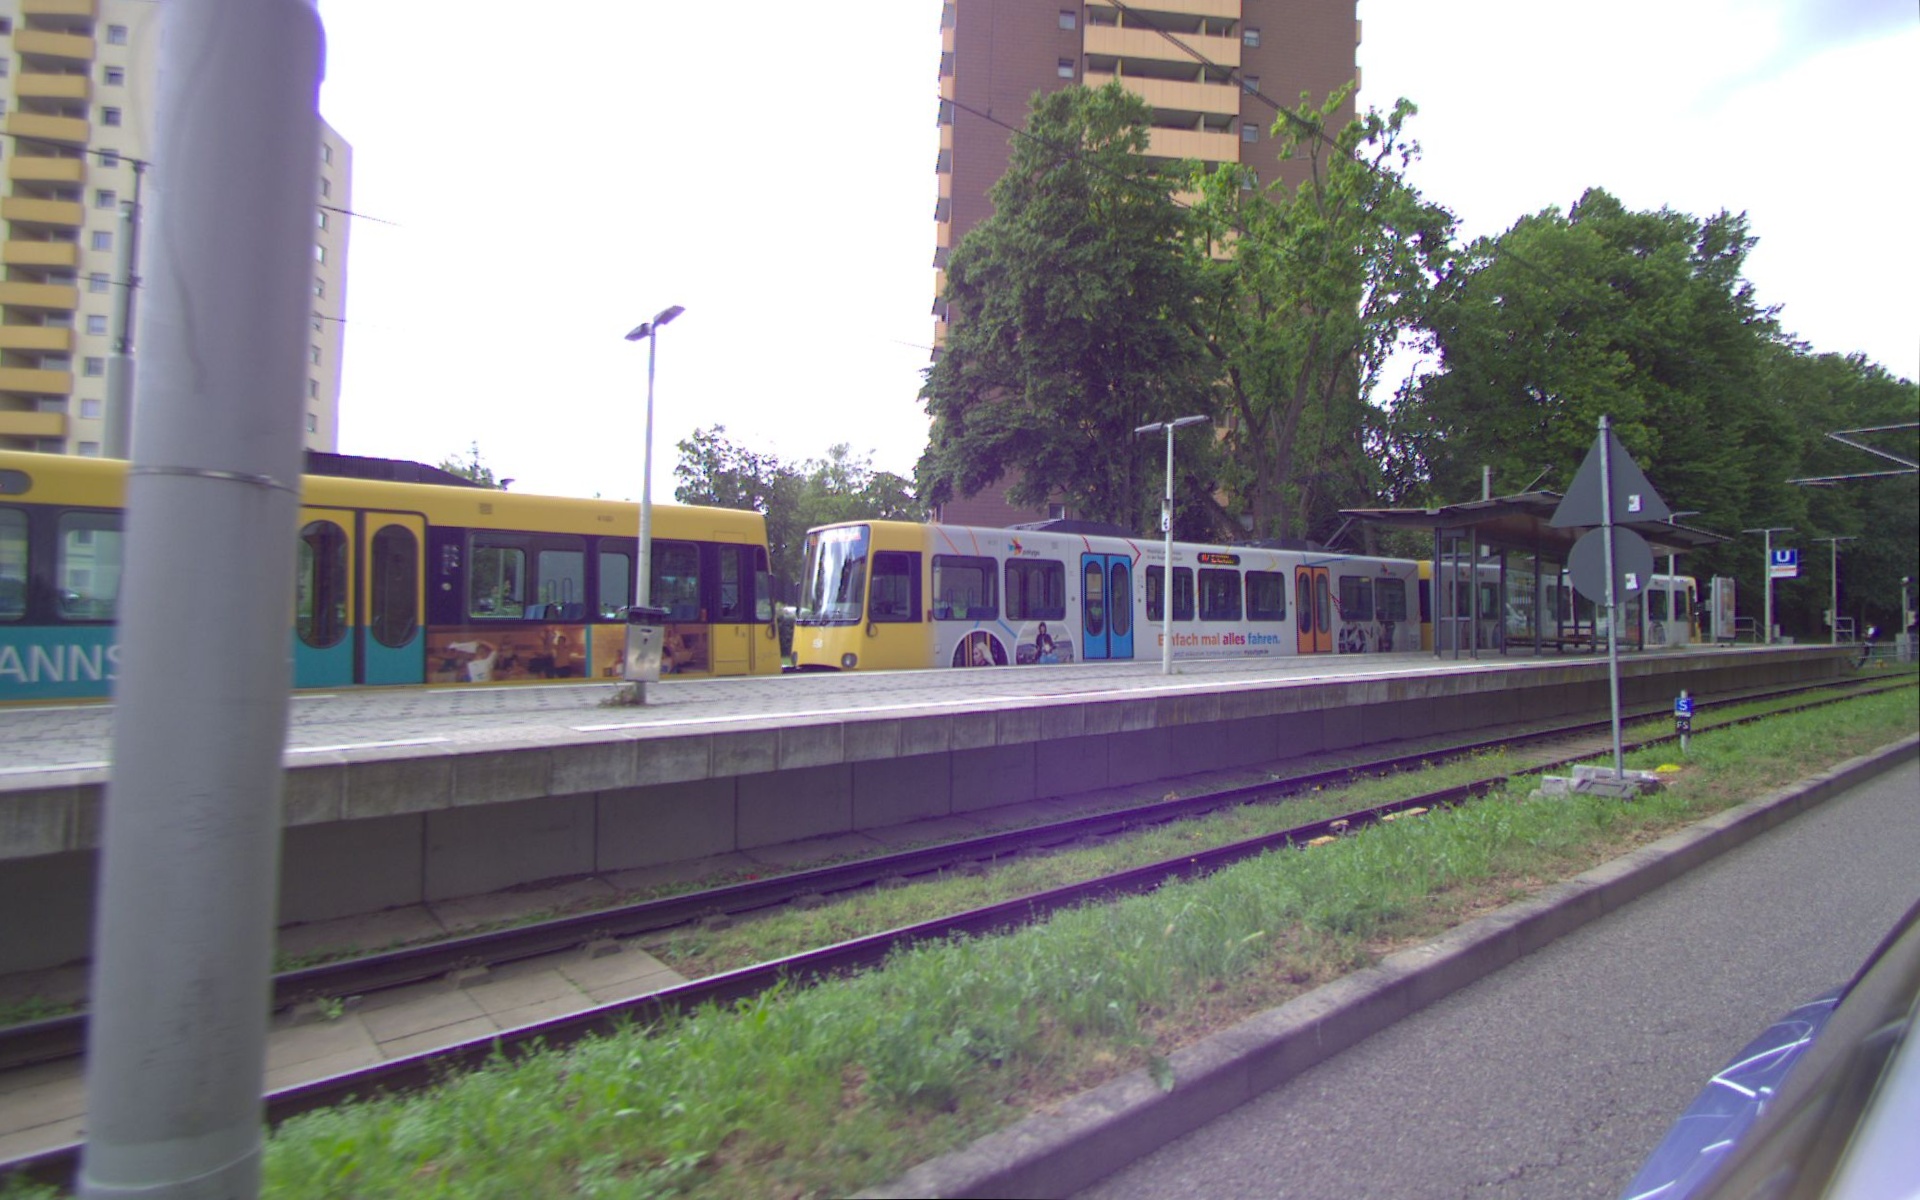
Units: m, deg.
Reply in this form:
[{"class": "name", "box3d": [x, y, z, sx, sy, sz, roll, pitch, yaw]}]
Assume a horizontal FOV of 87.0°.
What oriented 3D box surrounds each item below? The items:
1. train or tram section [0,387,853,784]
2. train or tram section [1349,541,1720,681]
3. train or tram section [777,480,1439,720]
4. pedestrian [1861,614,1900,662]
[{"class": "train or tram section", "box3d": [-9.858, -0.099, 10.909, 19.168, 3.786, 2.817, 1, -3, -41]}, {"class": "train or tram section", "box3d": [19.834, 0.452, 33.708, 18.172, 3.786, 2.822, 1, -3, -34]}, {"class": "train or tram section", "box3d": [4.851, 0.173, 23.022, 18.584, 3.848, 2.819, 1, -3, -38]}, {"class": "pedestrian", "box3d": [34.808, 1.450, 38.255, 0.717, 1.781, 0.984, 3, -4, -43]}]
